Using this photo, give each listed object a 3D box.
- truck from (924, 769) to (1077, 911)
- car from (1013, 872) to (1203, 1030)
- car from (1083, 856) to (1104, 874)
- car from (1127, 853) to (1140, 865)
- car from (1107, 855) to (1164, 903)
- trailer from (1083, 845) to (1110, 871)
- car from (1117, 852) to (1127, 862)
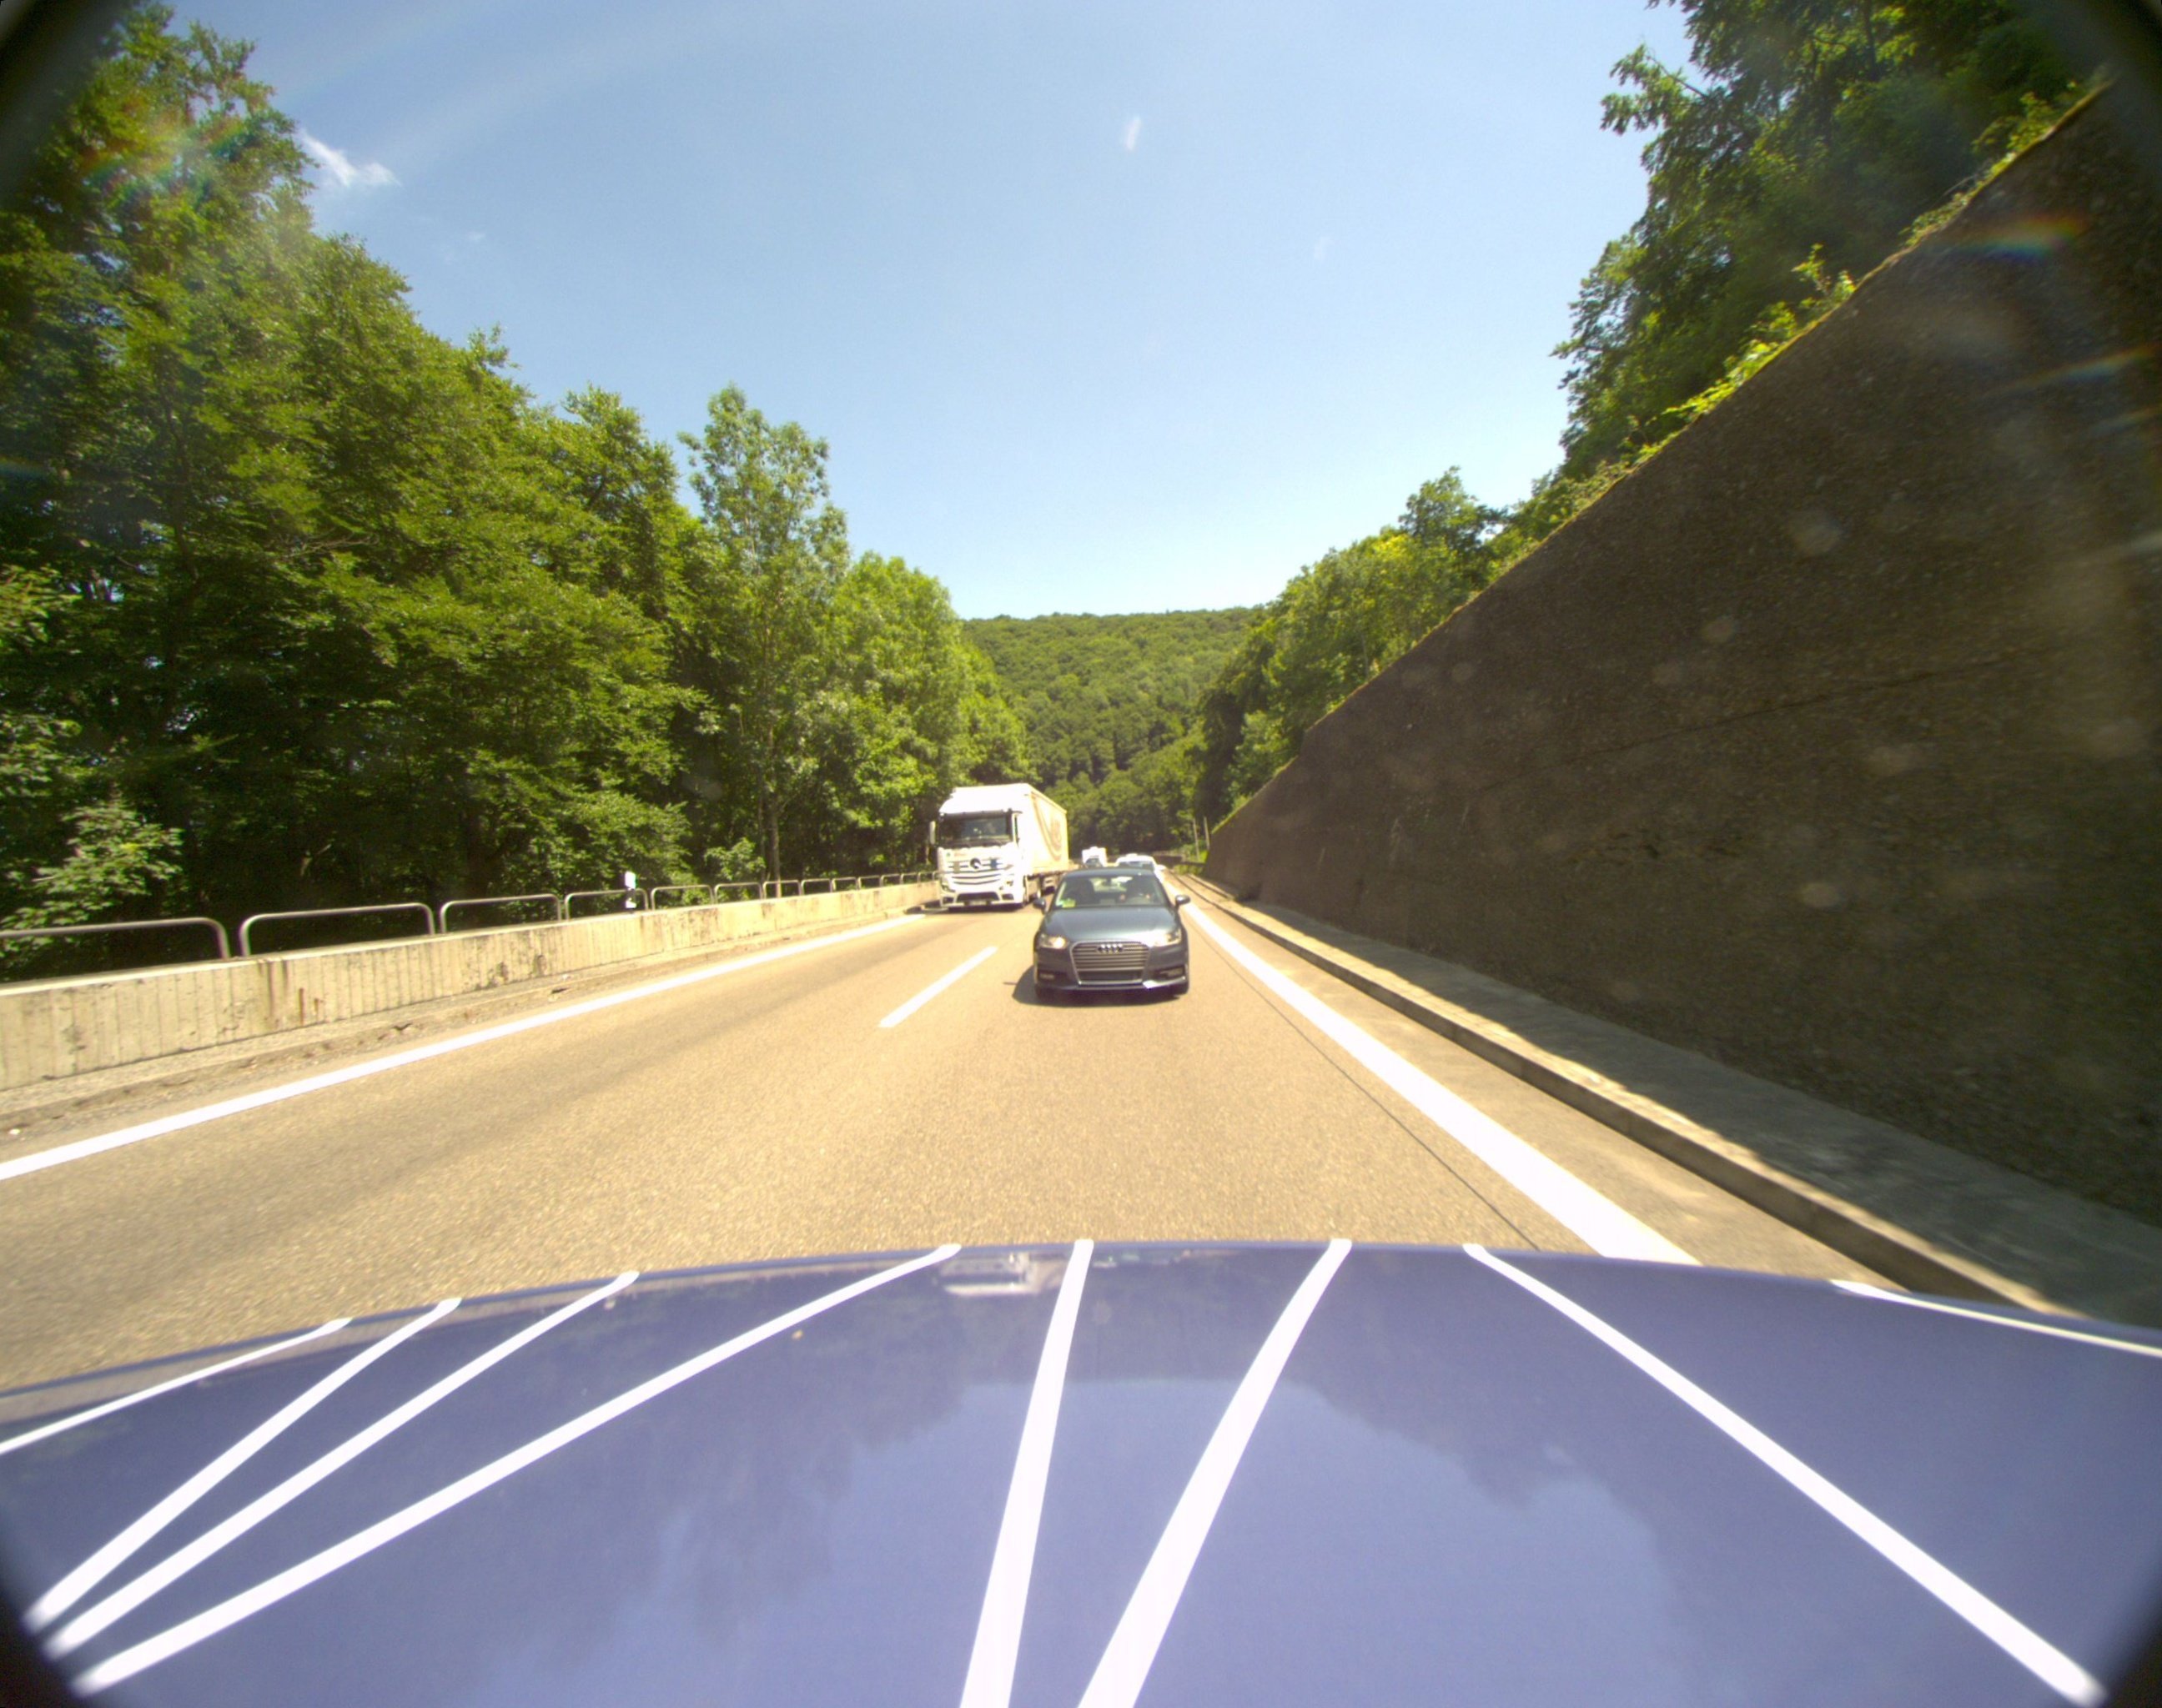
[{"bbox_3d":[-2.473,-0.419,31.025,2.968,4.108,16.713,-2,0,5],"label":"truck"},{"bbox_3d":[0.387,0.979,9.289,1.755,1.350,4.123,-2,0,4],"label":"car"},{"bbox_3d":[1.259,1.108,75.745,1.998,1.652,4.000,-2,0,0],"label":"car"},{"bbox_3d":[6.918,0.619,100.568,1.618,1.487,3.657,-2,0,4],"label":"car"},{"bbox_3d":[1.958,0.815,26.419,1.754,1.460,3.984,-2,0,6],"label":"car"},{"bbox_3d":[1.794,0.430,84.274,2.527,2.694,9.507,-2,0,4],"label":"trailer"},{"bbox_3d":[6.832,0.529,126.315,1.618,1.487,3.657,-2,0,3],"label":"car"}]
